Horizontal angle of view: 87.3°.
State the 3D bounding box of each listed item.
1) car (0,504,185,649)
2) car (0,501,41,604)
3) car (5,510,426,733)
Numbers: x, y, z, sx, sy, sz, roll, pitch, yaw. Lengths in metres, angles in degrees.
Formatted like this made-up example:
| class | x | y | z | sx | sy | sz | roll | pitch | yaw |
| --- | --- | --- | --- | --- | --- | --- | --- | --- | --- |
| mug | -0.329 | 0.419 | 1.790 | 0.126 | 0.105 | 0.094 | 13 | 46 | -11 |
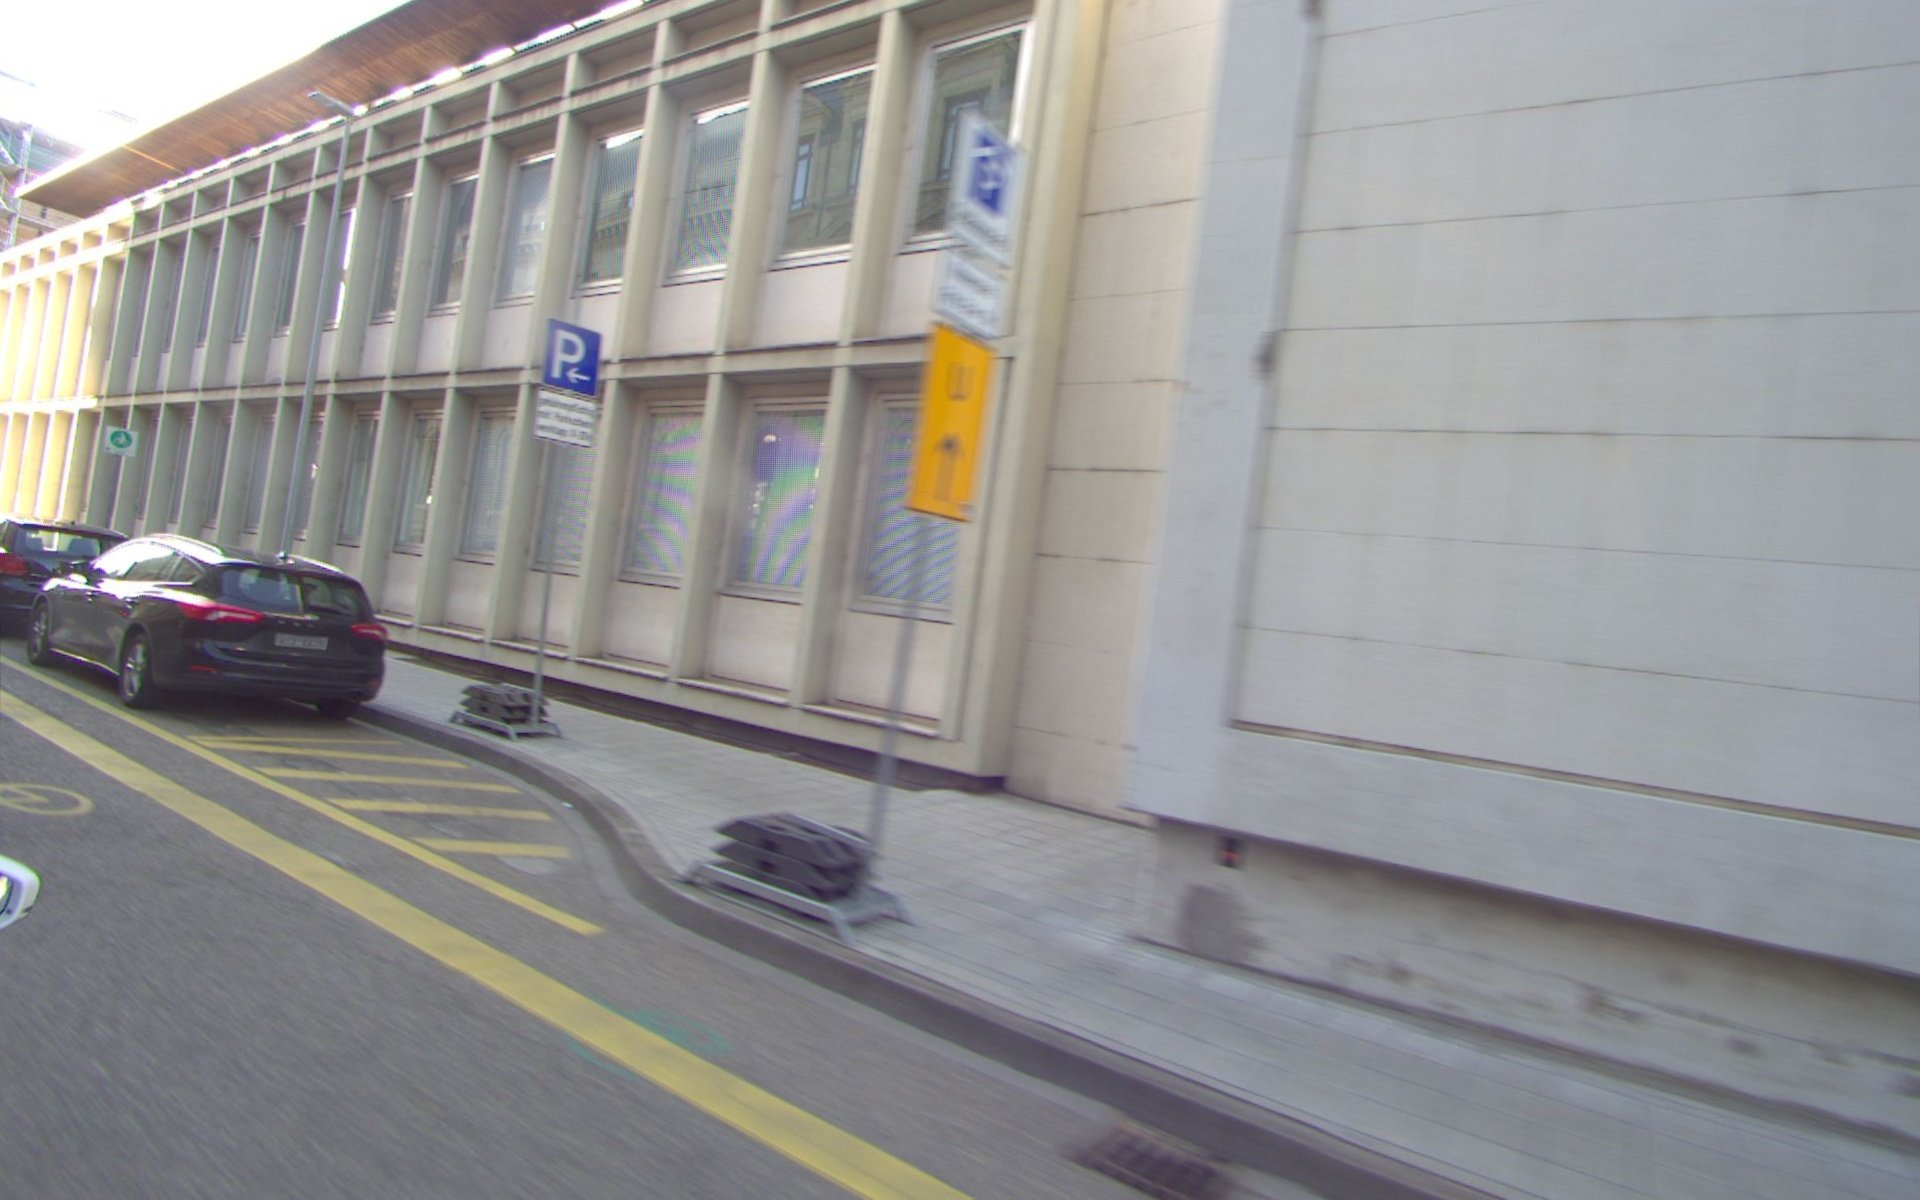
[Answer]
| class | x | y | z | sx | sy | sz | roll | pitch | yaw |
| --- | --- | --- | --- | --- | --- | --- | --- | --- | --- |
| car | -11.913 | -0.396 | 12.866 | 4.220 | 1.497 | 1.783 | 5 | -2 | 33 |
| car | -16.804 | -1.003 | 16.133 | 4.660 | 1.517 | 1.829 | 6 | -4 | 33 |
| car | -7.284 | 0.156 | 9.734 | 4.219 | 1.495 | 1.786 | 7 | -3 | 33 |
